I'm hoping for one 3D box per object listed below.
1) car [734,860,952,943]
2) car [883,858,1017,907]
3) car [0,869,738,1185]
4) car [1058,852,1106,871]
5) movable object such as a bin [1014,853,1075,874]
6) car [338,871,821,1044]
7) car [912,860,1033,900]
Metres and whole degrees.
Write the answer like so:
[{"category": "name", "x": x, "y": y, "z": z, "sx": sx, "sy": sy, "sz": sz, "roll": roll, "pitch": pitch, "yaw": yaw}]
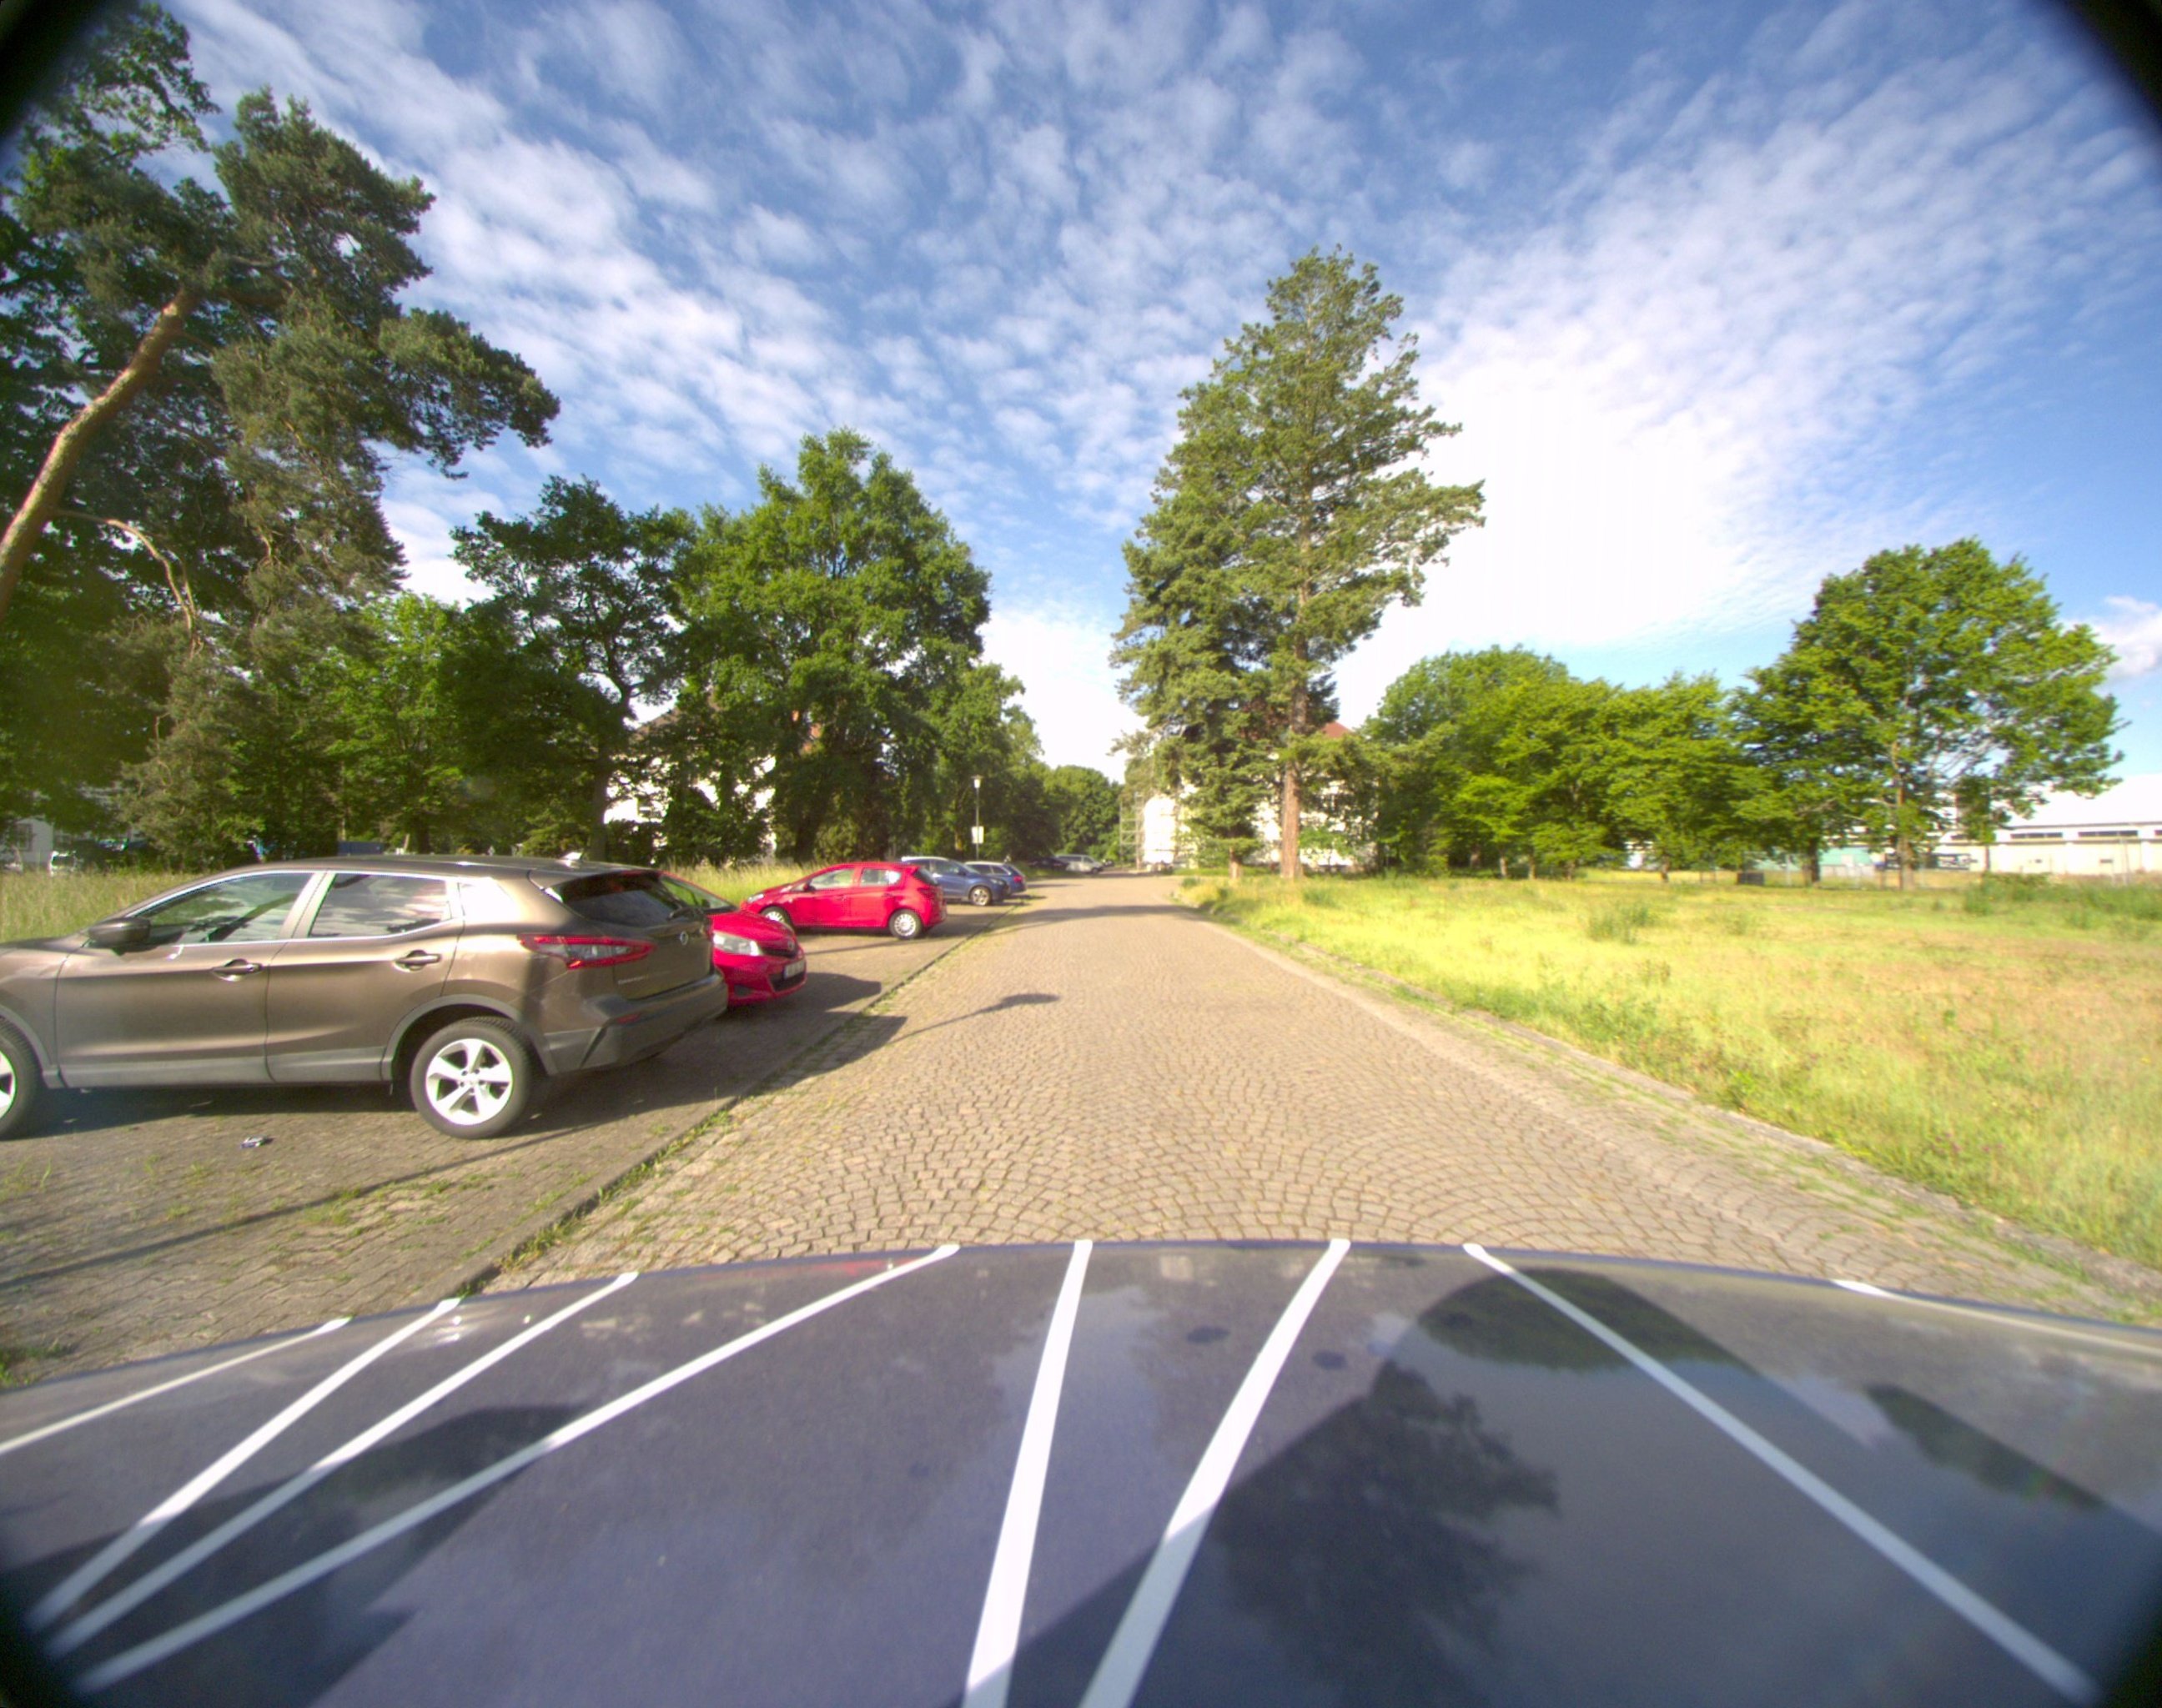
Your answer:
[{"category": "car", "x": -4.657, "y": 0.915, "z": 15.260, "sx": 3.837, "sy": 1.470, "sz": 1.645, "roll": 1, "pitch": 0, "yaw": -1}, {"category": "car", "x": -4.321, "y": 0.930, "z": 25.549, "sx": 4.187, "sy": 1.581, "sz": 1.751, "roll": 0, "pitch": 0, "yaw": 0}, {"category": "car", "x": -4.568, "y": 0.921, "z": 4.856, "sx": 3.946, "sy": 1.612, "sz": 1.772, "roll": 0, "pitch": 0, "yaw": -1}, {"category": "car", "x": 0.134, "y": 0.779, "z": 79.023, "sx": 4.937, "sy": 2.002, "sz": 2.000, "roll": 0, "pitch": 0, "yaw": 0}, {"category": "movable object such as a bin", "x": -3.186, "y": 0.810, "z": 66.098, "sx": 4.931, "sy": 1.749, "sz": 2.002, "roll": 0, "pitch": 0, "yaw": 15}, {"category": "car", "x": -4.796, "y": 0.945, "z": 7.655, "sx": 3.772, "sy": 1.521, "sz": 1.645, "roll": 0, "pitch": 0, "yaw": 1}, {"category": "car", "x": -4.265, "y": 1.005, "z": 30.261, "sx": 4.459, "sy": 1.399, "sz": 1.714, "roll": 1, "pitch": 0, "yaw": 3}]
